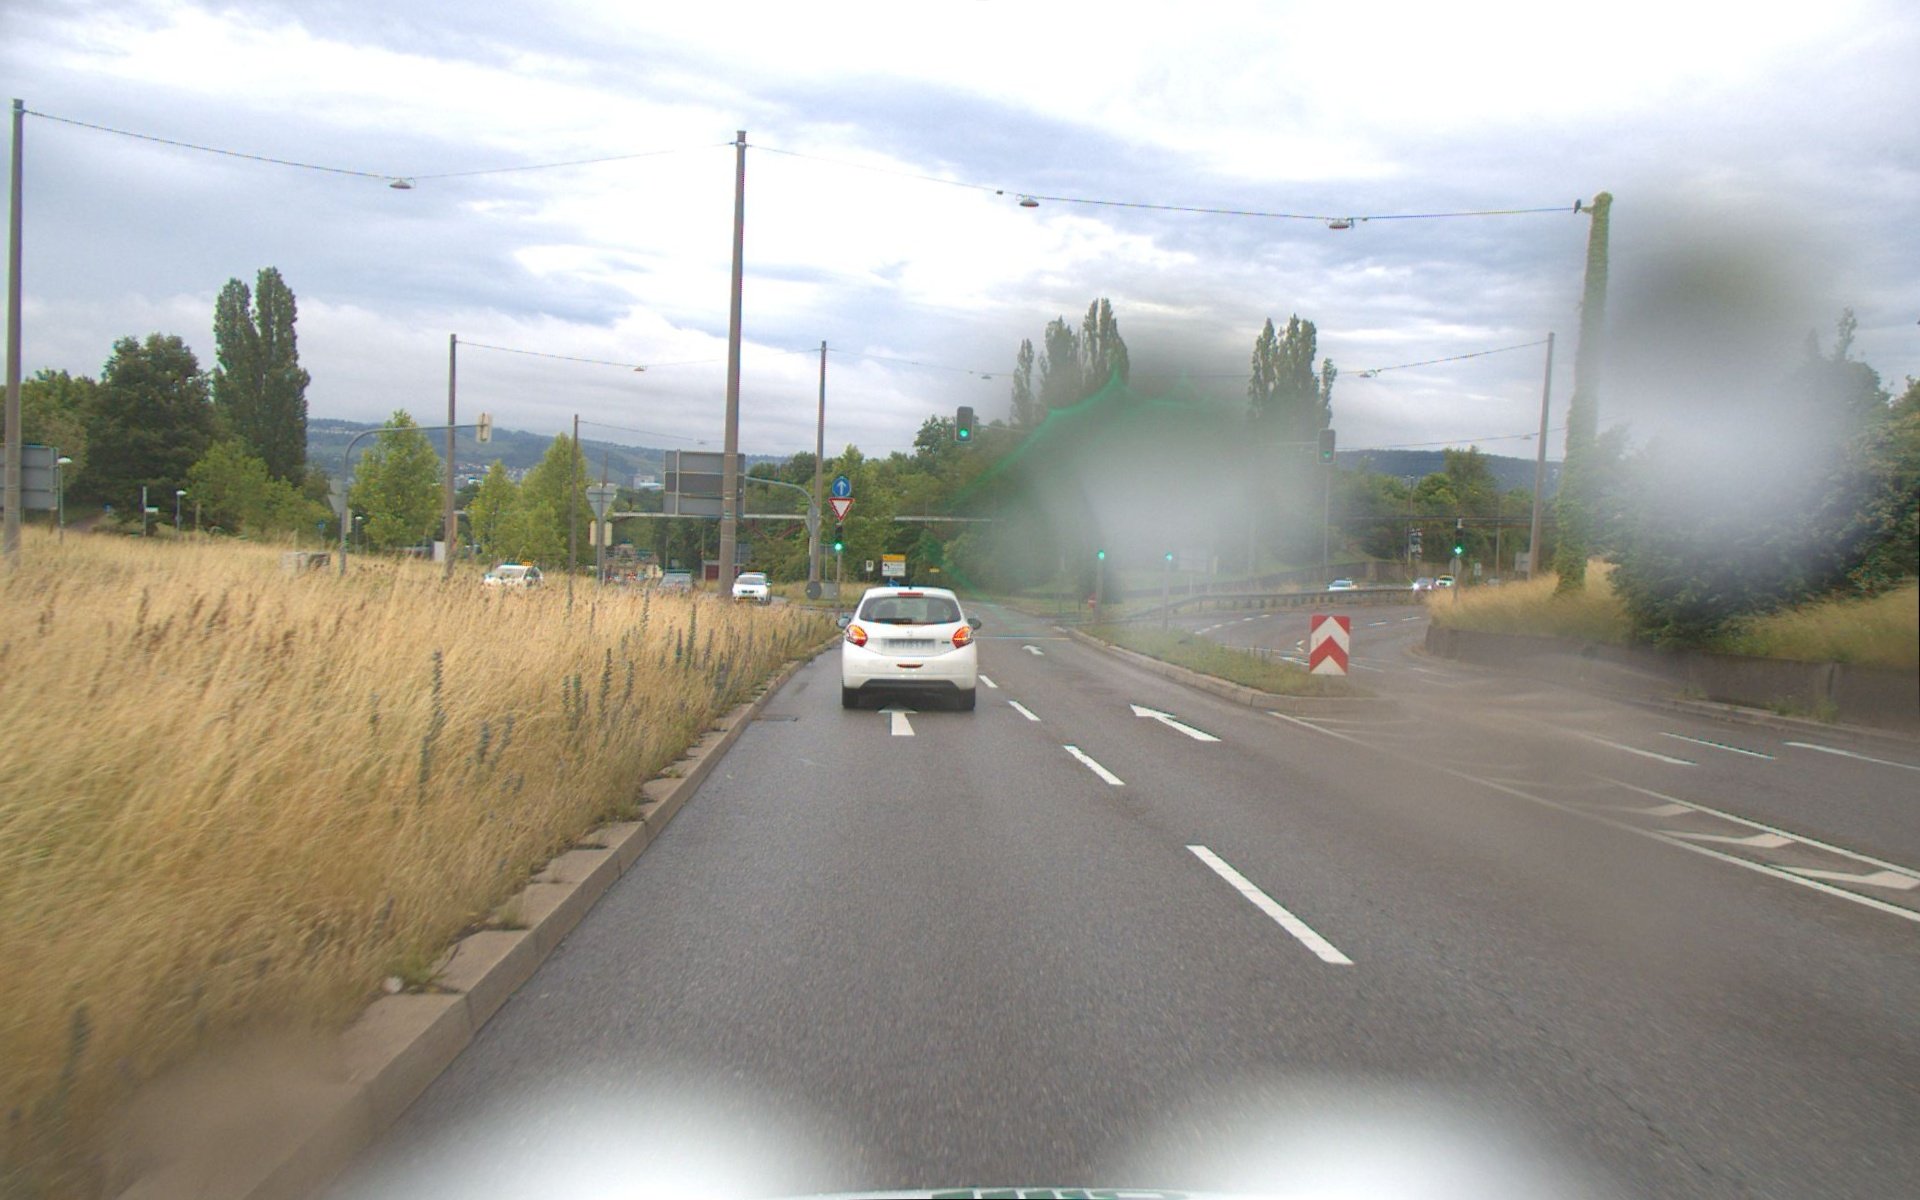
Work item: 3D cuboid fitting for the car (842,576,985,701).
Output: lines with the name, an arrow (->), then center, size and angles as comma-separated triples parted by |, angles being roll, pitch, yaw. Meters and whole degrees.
car -> -0.529, 0.461, 21.376 | 1.673, 1.465, 3.690 | 1, 0, 1

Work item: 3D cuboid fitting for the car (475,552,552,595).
car -> -19.039, -1.101, 70.753 | 1.846, 1.639, 4.677 | 2, 0, 1

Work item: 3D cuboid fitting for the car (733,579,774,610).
car -> -9.930, -0.274, 79.744 | 1.703, 1.397, 3.996 | 2, 0, -5

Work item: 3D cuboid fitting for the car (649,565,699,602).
car -> -13.269, -0.748, 76.976 | 1.858, 1.564, 3.996 | 2, -1, -4
